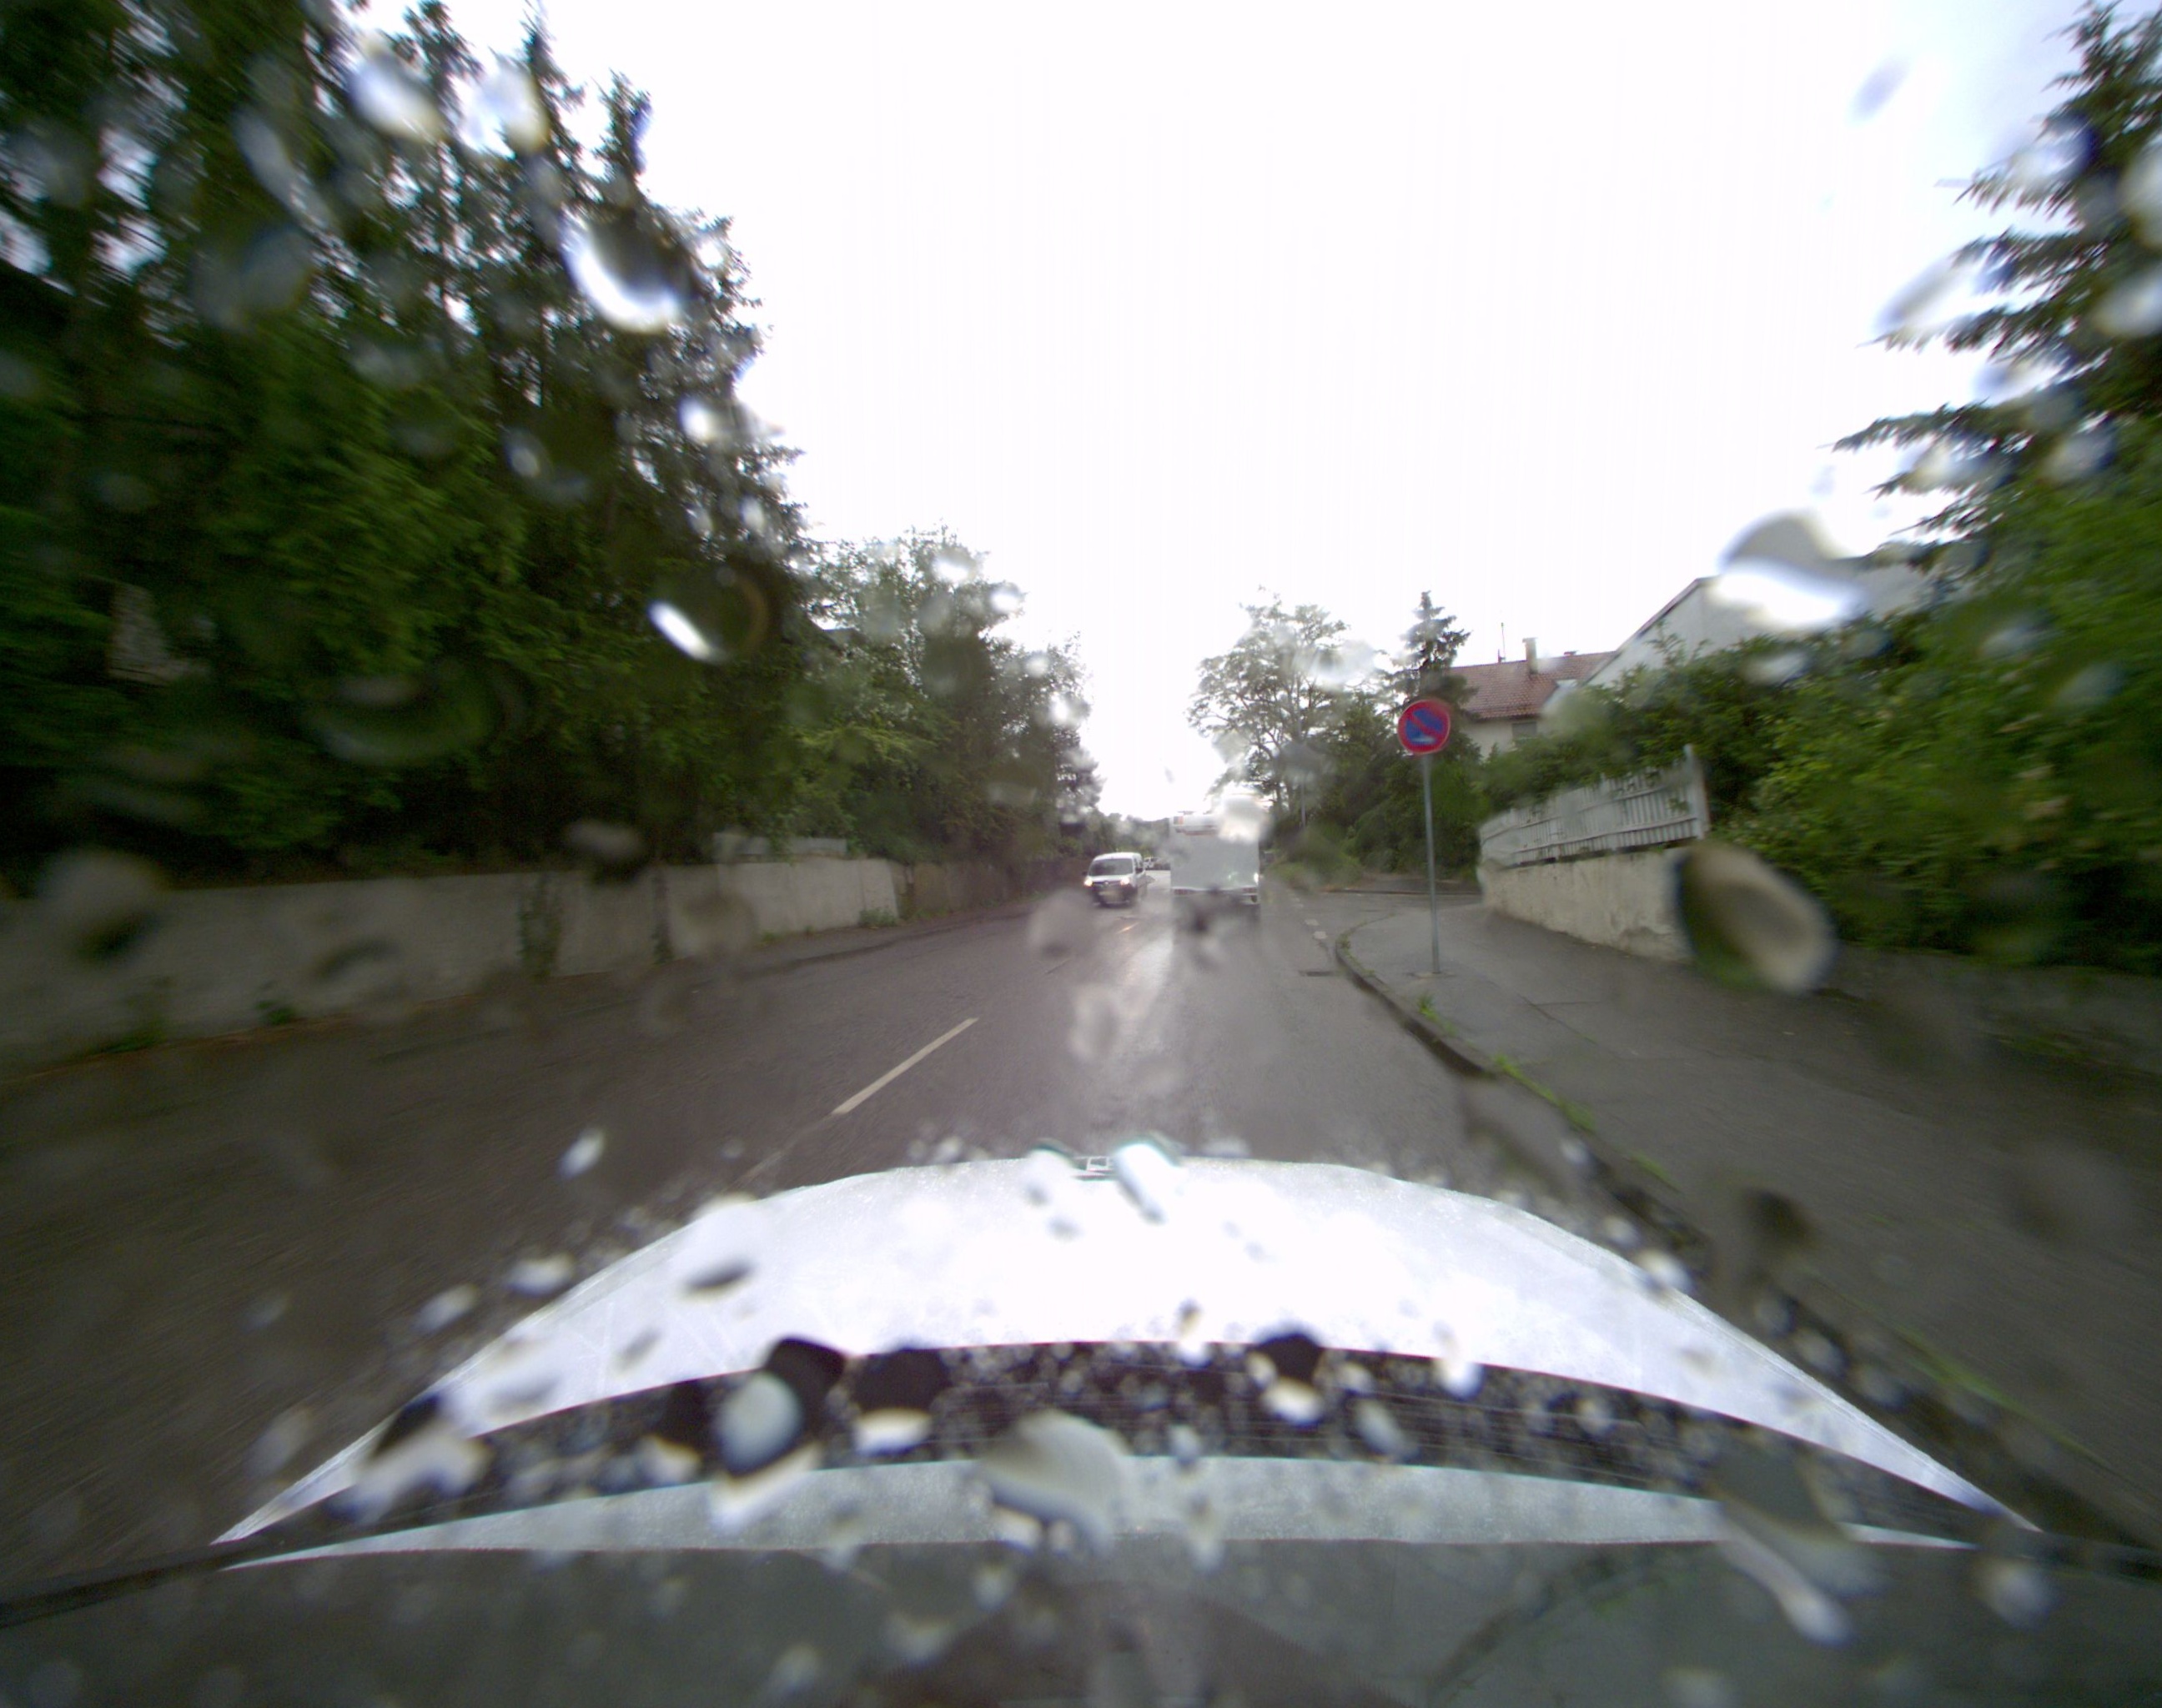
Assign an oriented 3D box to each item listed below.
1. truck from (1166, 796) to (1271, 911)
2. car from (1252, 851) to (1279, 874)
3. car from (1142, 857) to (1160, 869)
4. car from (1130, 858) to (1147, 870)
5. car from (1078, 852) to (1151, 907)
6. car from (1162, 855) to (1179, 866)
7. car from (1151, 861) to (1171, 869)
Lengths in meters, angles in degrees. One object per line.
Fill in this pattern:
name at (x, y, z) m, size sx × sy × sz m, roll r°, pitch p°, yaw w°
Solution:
truck at (4.063, 0.118, 23.083) m, size 2.498 × 2.818 × 6.221 m, roll 1°, pitch -3°, yaw 13°
car at (14.609, 0.720, 64.507) m, size 1.980 × 1.640 × 4.012 m, roll 1°, pitch -3°, yaw 12°
car at (10.651, 1.340, 123.935) m, size 1.648 × 1.721 × 3.981 m, roll 2°, pitch -3°, yaw -13°
car at (9.179, 1.572, 129.895) m, size 1.648 × 1.721 × 3.981 m, roll 2°, pitch -3°, yaw -13°
car at (1.265, 0.840, 28.535) m, size 1.828 × 1.755 × 4.435 m, roll 0°, pitch -1°, yaw 12°
car at (12.437, 0.957, 112.889) m, size 1.538 × 1.327 × 3.991 m, roll 2°, pitch -3°, yaw -6°
car at (11.695, 1.582, 118.656) m, size 1.648 × 1.101 × 3.981 m, roll -2°, pitch -1°, yaw -13°
